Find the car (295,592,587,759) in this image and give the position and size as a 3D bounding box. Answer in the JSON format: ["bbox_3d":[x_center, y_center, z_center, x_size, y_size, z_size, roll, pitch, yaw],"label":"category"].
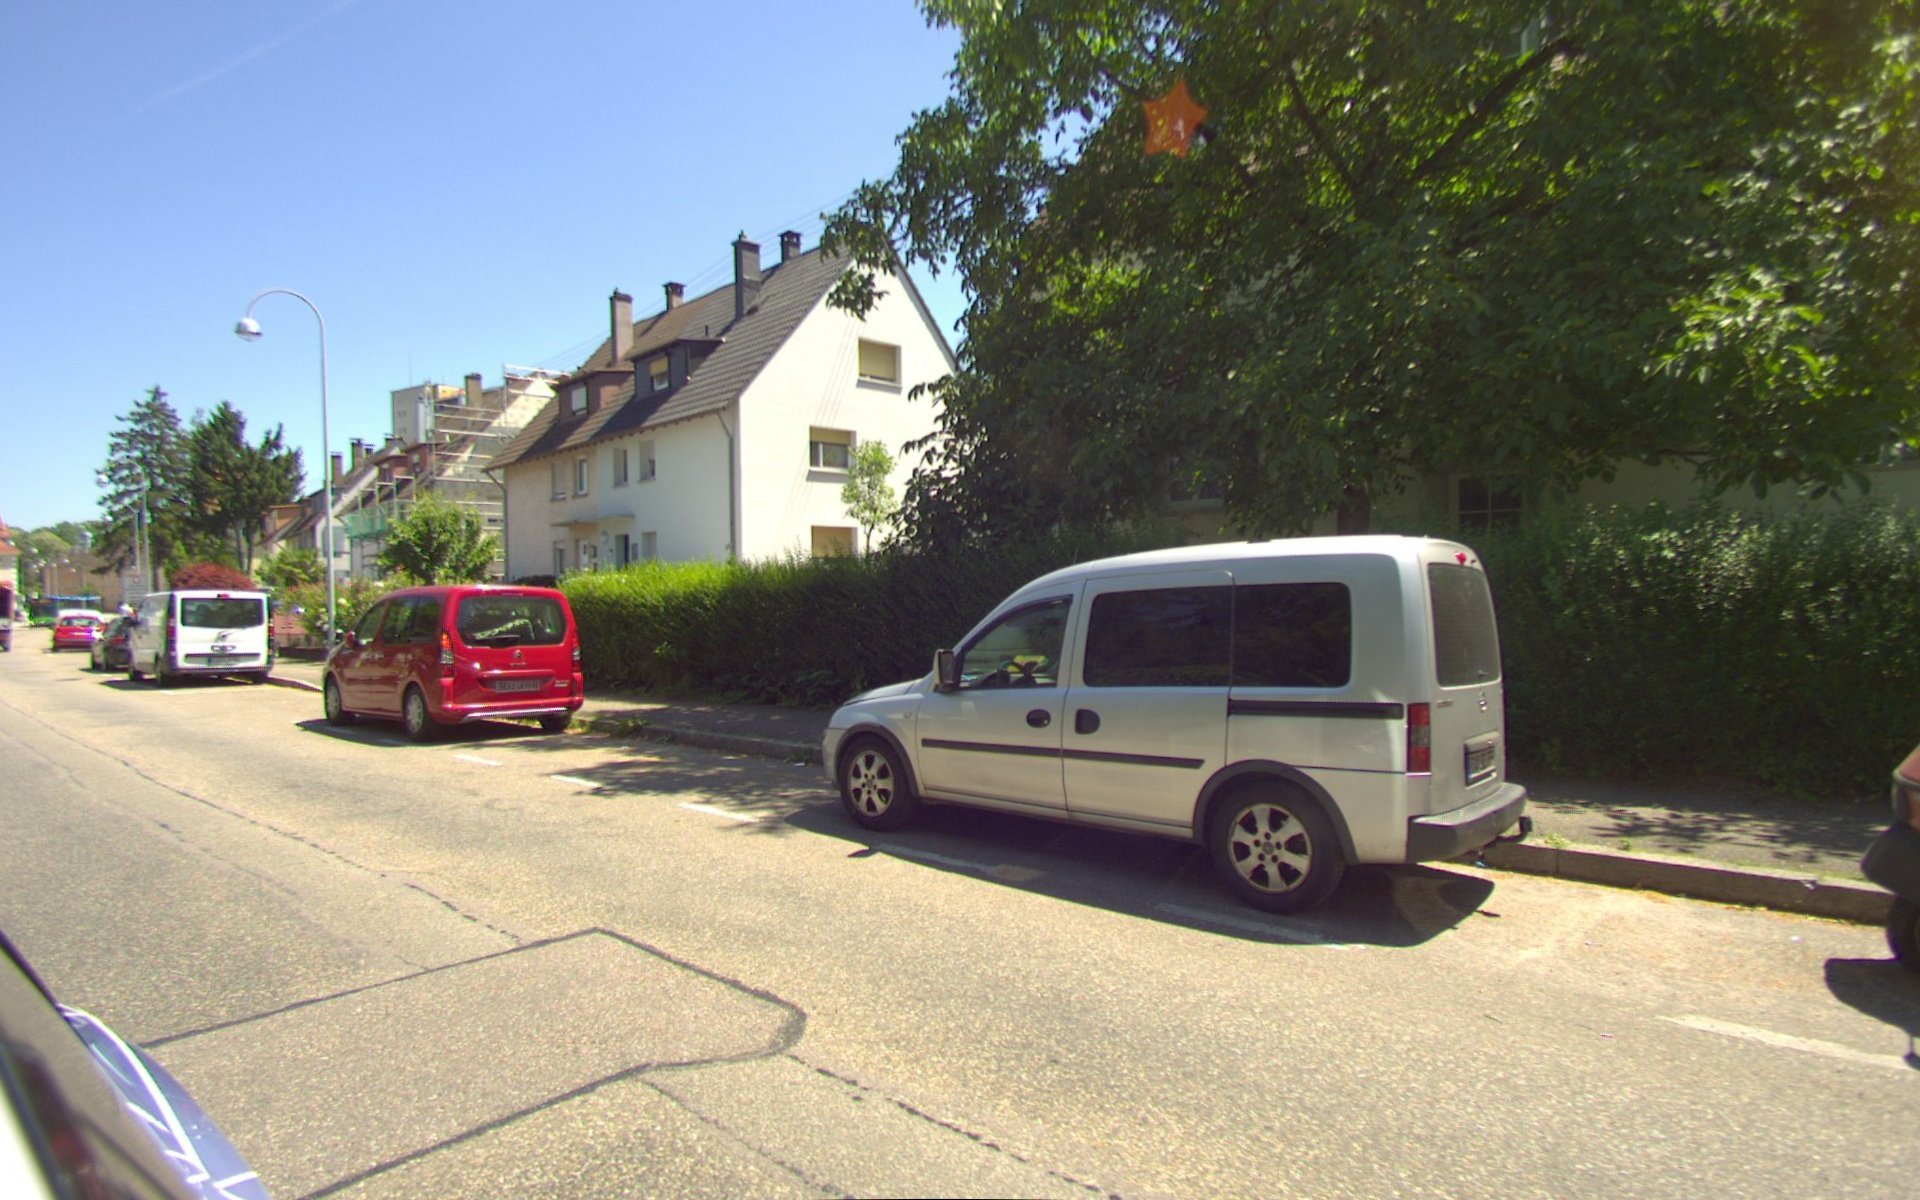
[{"bbox_3d":[-6.623,0.855,12.697,4.456,1.740,1.739,-2,-3,41],"label":"car"}]

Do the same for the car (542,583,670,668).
[{"bbox_3d":[-8.825,0.584,25.059,1.693,1.884,4.007,-3,1,-39],"label":"car"}]

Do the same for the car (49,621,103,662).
[{"bbox_3d":[-39.471,1.857,45.190,1.702,1.749,3.892,2,-3,-42],"label":"car"}]

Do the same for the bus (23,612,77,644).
[{"bbox_3d":[-94.530,2.814,105.280,2.865,3.103,12.591,-1,0,-36],"label":"bus"}]

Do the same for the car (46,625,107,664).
[{"bbox_3d":[-35.956,1.785,41.267,1.738,1.489,4.065,2,-3,-40],"label":"car"}]

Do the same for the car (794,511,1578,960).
[{"bbox_3d":[1.015,0.589,6.067,4.353,1.765,1.630,-2,-2,42],"label":"car"}]

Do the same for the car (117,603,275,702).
[{"bbox_3d":[-16.531,1.077,21.797,4.980,1.895,1.866,-2,-2,43],"label":"car"}]

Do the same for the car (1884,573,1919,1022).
[{"bbox_3d":[4.734,0.657,3.033,2.839,1.515,1.396,-2,-3,42],"label":"car"}]

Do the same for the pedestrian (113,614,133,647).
[{"bbox_3d":[-50.174,1.808,60.661,0.680,1.903,1.021,-6,3,-36],"label":"pedestrian"}]

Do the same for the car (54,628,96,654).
[{"bbox_3d":[-51.936,2.391,59.428,1.747,1.450,4.369,2,-3,-40],"label":"car"}]

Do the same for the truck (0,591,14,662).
[{"bbox_3d":[-40.819,1.107,41.786,2.346,2.851,5.661,1,-2,-45],"label":"truck"}]

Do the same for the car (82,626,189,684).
[{"bbox_3d":[-21.803,1.414,26.700,4.236,1.395,1.679,-2,-3,44],"label":"car"}]
